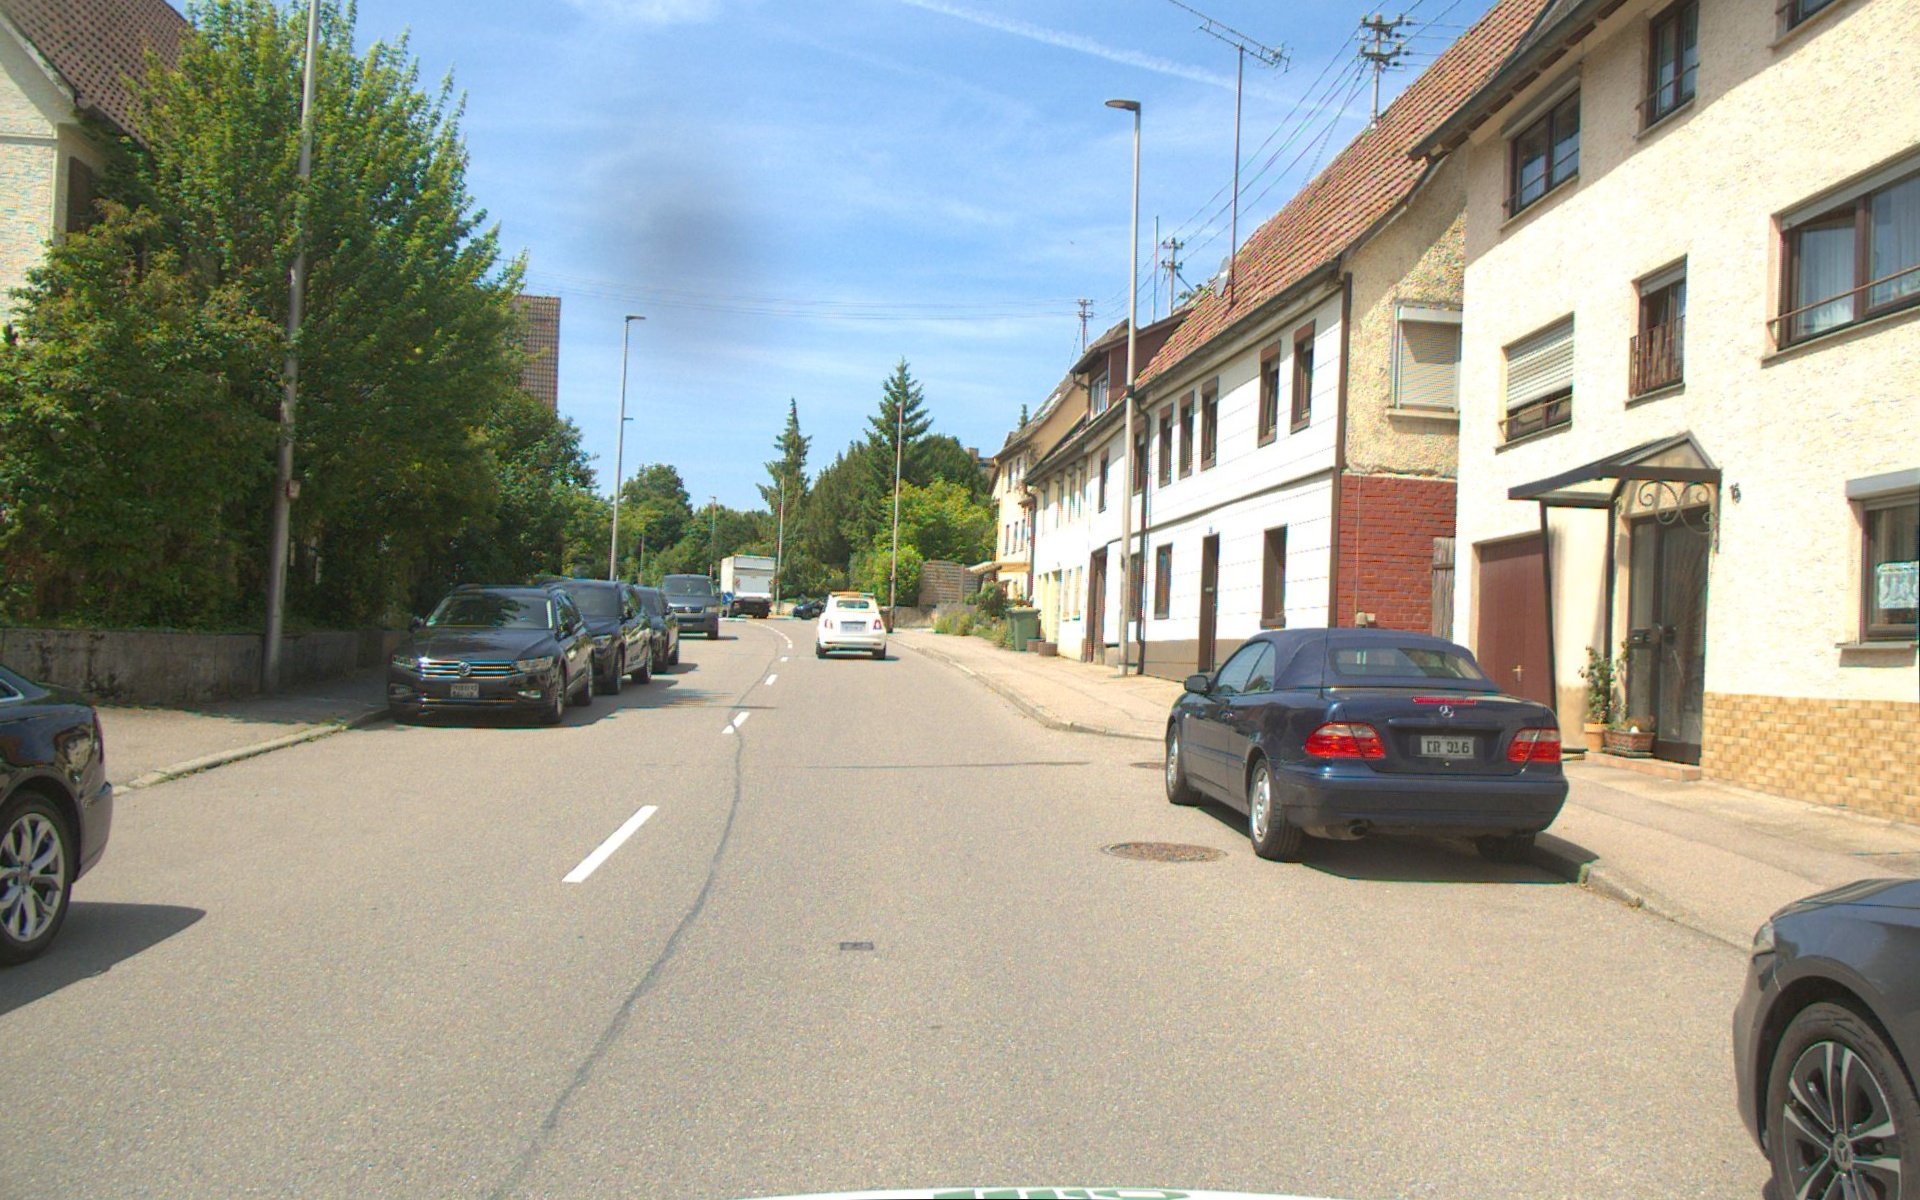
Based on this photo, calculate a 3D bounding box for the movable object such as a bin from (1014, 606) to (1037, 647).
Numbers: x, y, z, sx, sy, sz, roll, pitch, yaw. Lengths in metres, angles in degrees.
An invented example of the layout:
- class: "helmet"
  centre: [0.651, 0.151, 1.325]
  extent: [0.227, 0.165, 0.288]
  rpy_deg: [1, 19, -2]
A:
- class: "movable object such as a bin"
  centre: [1.694, 0.690, 42.824]
  extent: [0.536, 1.051, 0.551]
  rpy_deg: [0, 0, -6]

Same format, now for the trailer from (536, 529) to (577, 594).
- class: "trailer"
  centre: [-19.556, -1.808, 80.270]
  extent: [1.682, 2.898, 6.154]
  rpy_deg: [3, -1, -13]

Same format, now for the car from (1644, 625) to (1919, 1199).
- class: "car"
  centre: [2.852, 0.803, 2.404]
  extent: [1.758, 1.427, 4.410]
  rpy_deg: [1, 0, -2]

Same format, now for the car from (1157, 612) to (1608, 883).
- class: "car"
  centre: [2.566, 0.826, 11.122]
  extent: [1.633, 1.376, 4.183]
  rpy_deg: [3, 0, -5]

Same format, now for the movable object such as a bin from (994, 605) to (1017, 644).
- class: "movable object such as a bin"
  centre: [1.228, 0.662, 44.688]
  extent: [0.536, 1.051, 0.551]
  rpy_deg: [0, 0, -6]

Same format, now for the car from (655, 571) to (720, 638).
- class: "car"
  centre: [-8.521, 0.133, 51.786]
  extent: [1.856, 1.971, 4.975]
  rpy_deg: [1, 0, -9]

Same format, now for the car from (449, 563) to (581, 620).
- class: "car"
  centre: [-15.164, -0.297, 56.499]
  extent: [4.159, 1.429, 1.815]
  rpy_deg: [7, -1, -14]

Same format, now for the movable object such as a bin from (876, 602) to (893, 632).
- class: "movable object such as a bin"
  centre: [-2.755, 0.611, 60.352]
  extent: [0.484, 1.051, 0.549]
  rpy_deg: [-1, 0, 14]

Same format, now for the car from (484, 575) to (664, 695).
- class: "car"
  centre: [-5.575, 0.449, 24.375]
  extent: [1.720, 1.547, 4.299]
  rpy_deg: [2, 1, -2]

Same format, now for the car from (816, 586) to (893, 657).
- class: "car"
  centre: [-2.581, 0.497, 39.720]
  extent: [1.691, 1.587, 3.995]
  rpy_deg: [1, 0, -6]

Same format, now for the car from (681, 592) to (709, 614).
- class: "car"
  centre: [-21.718, 0.274, 135.566]
  extent: [1.511, 1.699, 3.977]
  rpy_deg: [4, -2, -19]

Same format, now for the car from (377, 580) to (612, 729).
- class: "car"
  centre: [-5.279, 0.560, 19.381]
  extent: [1.754, 1.489, 4.707]
  rpy_deg: [2, 0, -5]

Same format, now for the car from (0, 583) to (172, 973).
- class: "car"
  centre: [-4.480, 0.672, 5.058]
  extent: [1.768, 1.448, 4.927]
  rpy_deg: [1, 1, 0]

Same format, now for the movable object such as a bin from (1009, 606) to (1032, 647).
- class: "movable object such as a bin"
  centre: [1.589, 0.682, 43.401]
  extent: [0.536, 1.051, 0.551]
  rpy_deg: [0, 0, -6]

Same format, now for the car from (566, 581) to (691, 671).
- class: "car"
  centre: [-6.056, 0.422, 30.710]
  extent: [1.784, 1.499, 4.770]
  rpy_deg: [2, 0, -6]

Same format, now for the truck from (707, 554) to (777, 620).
- class: "truck"
  centre: [-13.557, -0.751, 102.163]
  extent: [3.019, 3.840, 7.832]
  rpy_deg: [2, -1, -16]
